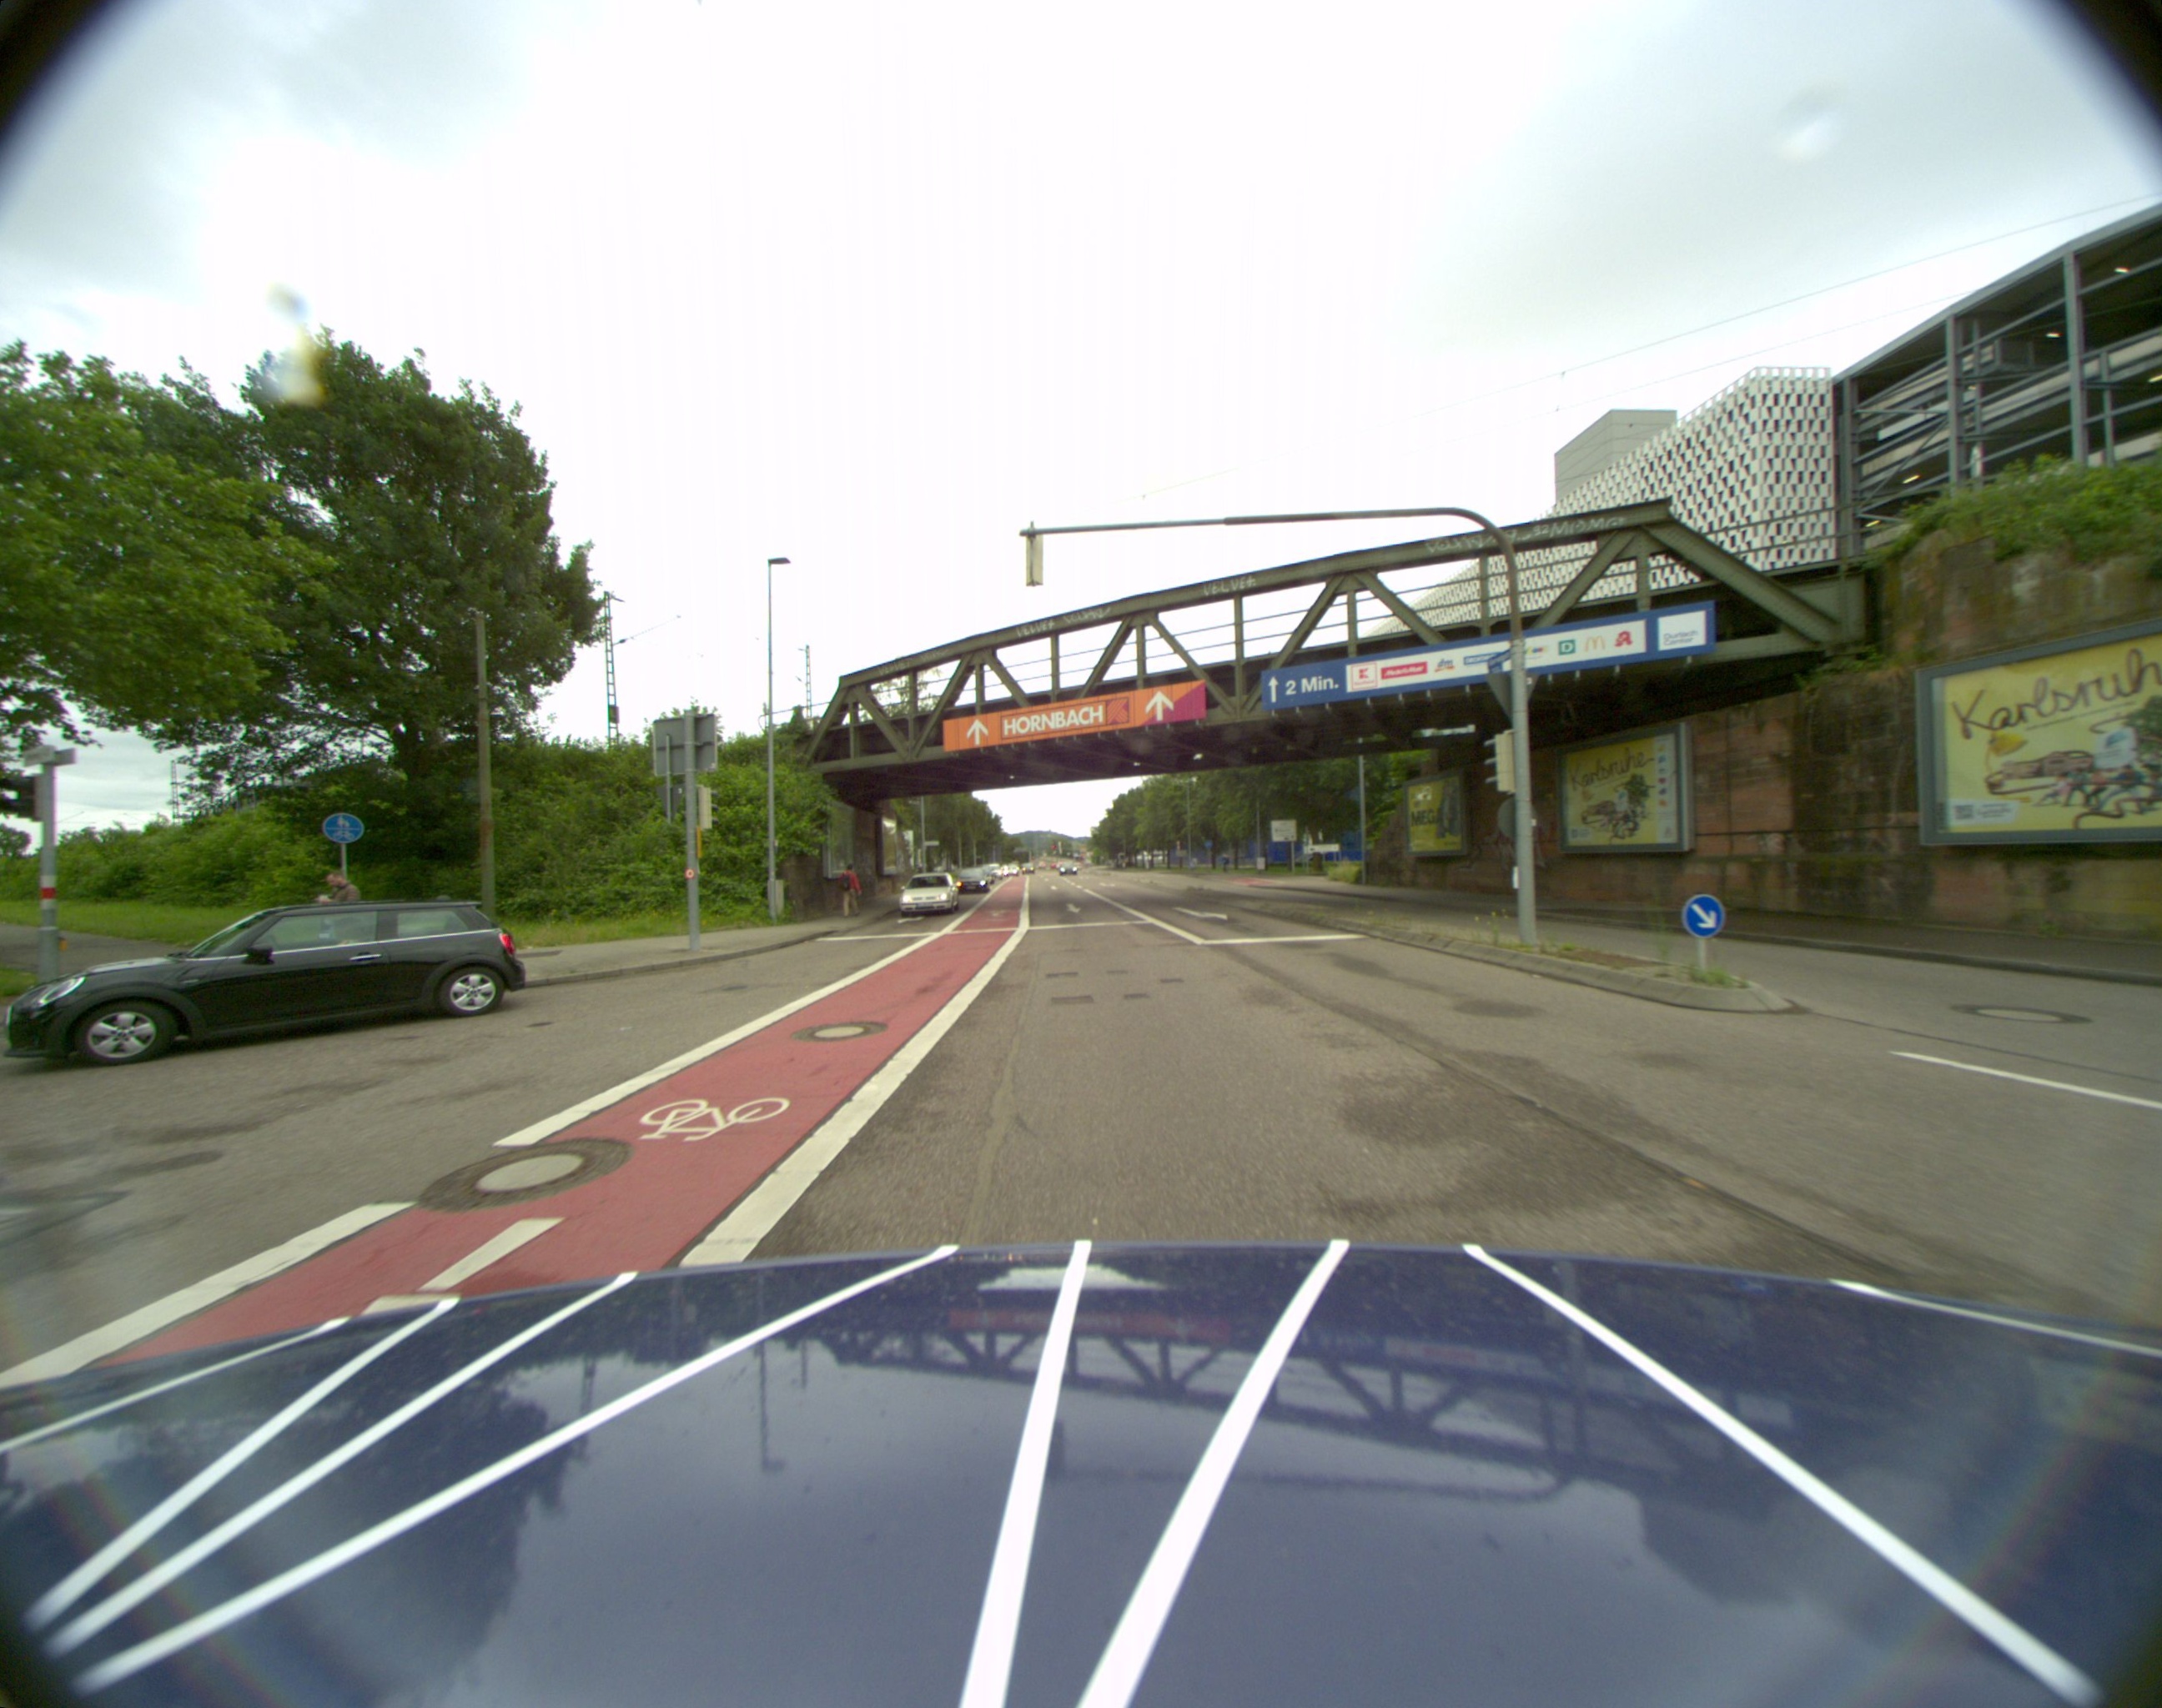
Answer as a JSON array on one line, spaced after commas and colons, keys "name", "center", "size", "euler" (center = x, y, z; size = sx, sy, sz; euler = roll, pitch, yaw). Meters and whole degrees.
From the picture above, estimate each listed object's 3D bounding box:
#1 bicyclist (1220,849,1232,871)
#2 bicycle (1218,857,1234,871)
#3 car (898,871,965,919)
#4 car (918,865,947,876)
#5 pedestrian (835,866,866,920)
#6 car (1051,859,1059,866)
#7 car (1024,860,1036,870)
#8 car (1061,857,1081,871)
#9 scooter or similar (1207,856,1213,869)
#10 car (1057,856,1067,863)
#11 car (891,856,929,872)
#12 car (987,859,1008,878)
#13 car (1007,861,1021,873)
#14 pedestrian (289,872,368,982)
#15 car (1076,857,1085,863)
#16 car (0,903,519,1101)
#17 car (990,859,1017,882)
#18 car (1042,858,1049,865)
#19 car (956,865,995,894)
[{"name": "bicyclist", "center": [12.794, 0.530, 67.111], "size": [0.704, 1.864, 1.019], "euler": [-4, 1, -4]}, {"name": "bicycle", "center": [12.821, 0.877, 67.113], "size": [0.715, 1.180, 2.369], "euler": [-4, 1, -4]}, {"name": "car", "center": [-5.191, 1.381, 26.842], "size": [1.727, 1.416, 3.940], "euler": [-3, 0, -4]}, {"name": "car", "center": [-23.610, 2.628, 121.033], "size": [4.200, 1.423, 1.738], "euler": [-5, 0, -4]}, {"name": "pedestrian", "center": [-7.784, 1.289, 25.682], "size": [0.875, 1.749, 0.786], "euler": [-2, 1, -12]}, {"name": "car", "center": [-7.172, 2.319, 210.962], "size": [1.652, 1.787, 3.978], "euler": [0, -1, -10]}, {"name": "car", "center": [-8.004, 1.770, 119.171], "size": [1.837, 1.416, 3.999], "euler": [-3, 0, -4]}, {"name": "car", "center": [-1.112, 1.070, 82.401], "size": [1.837, 1.416, 3.999], "euler": [-3, 0, -4]}, {"name": "scooter or similar", "center": [12.940, 0.842, 76.460], "size": [0.448, 1.314, 1.506], "euler": [-2, 0, 6]}, {"name": "car", "center": [-4.595, 1.321, 180.666], "size": [1.823, 1.577, 4.510], "euler": [0, -1, -7]}, {"name": "car", "center": [-21.171, 1.191, 94.179], "size": [4.309, 1.592, 1.969], "euler": [-5, 0, -3]}, {"name": "car", "center": [-8.521, 1.436, 77.560], "size": [1.996, 1.838, 4.102], "euler": [-2, 0, -7]}, {"name": "car", "center": [-9.024, 1.724, 102.585], "size": [1.837, 1.416, 3.999], "euler": [-3, 0, -4]}, {"name": "pedestrian", "center": [-11.889, 1.117, 12.010], "size": [0.742, 1.630, 0.780], "euler": [-2, 1, 40]}, {"name": "car", "center": [-0.139, 1.345, 170.758], "size": [1.681, 1.420, 3.648], "euler": [-1, 0, -7]}, {"name": "car", "center": [-8.678, 1.385, 8.316], "size": [1.680, 1.423, 3.781], "euler": [-3, -1, 43]}, {"name": "car", "center": [-6.069, 1.272, 59.548], "size": [1.788, 1.637, 3.997], "euler": [-2, 0, -10]}, {"name": "car", "center": [-9.932, 2.102, 212.481], "size": [1.652, 1.787, 3.978], "euler": [-1, 0, -11]}, {"name": "car", "center": [-5.906, 1.389, 43.059], "size": [1.837, 1.416, 3.999], "euler": [-3, 0, -4]}]
